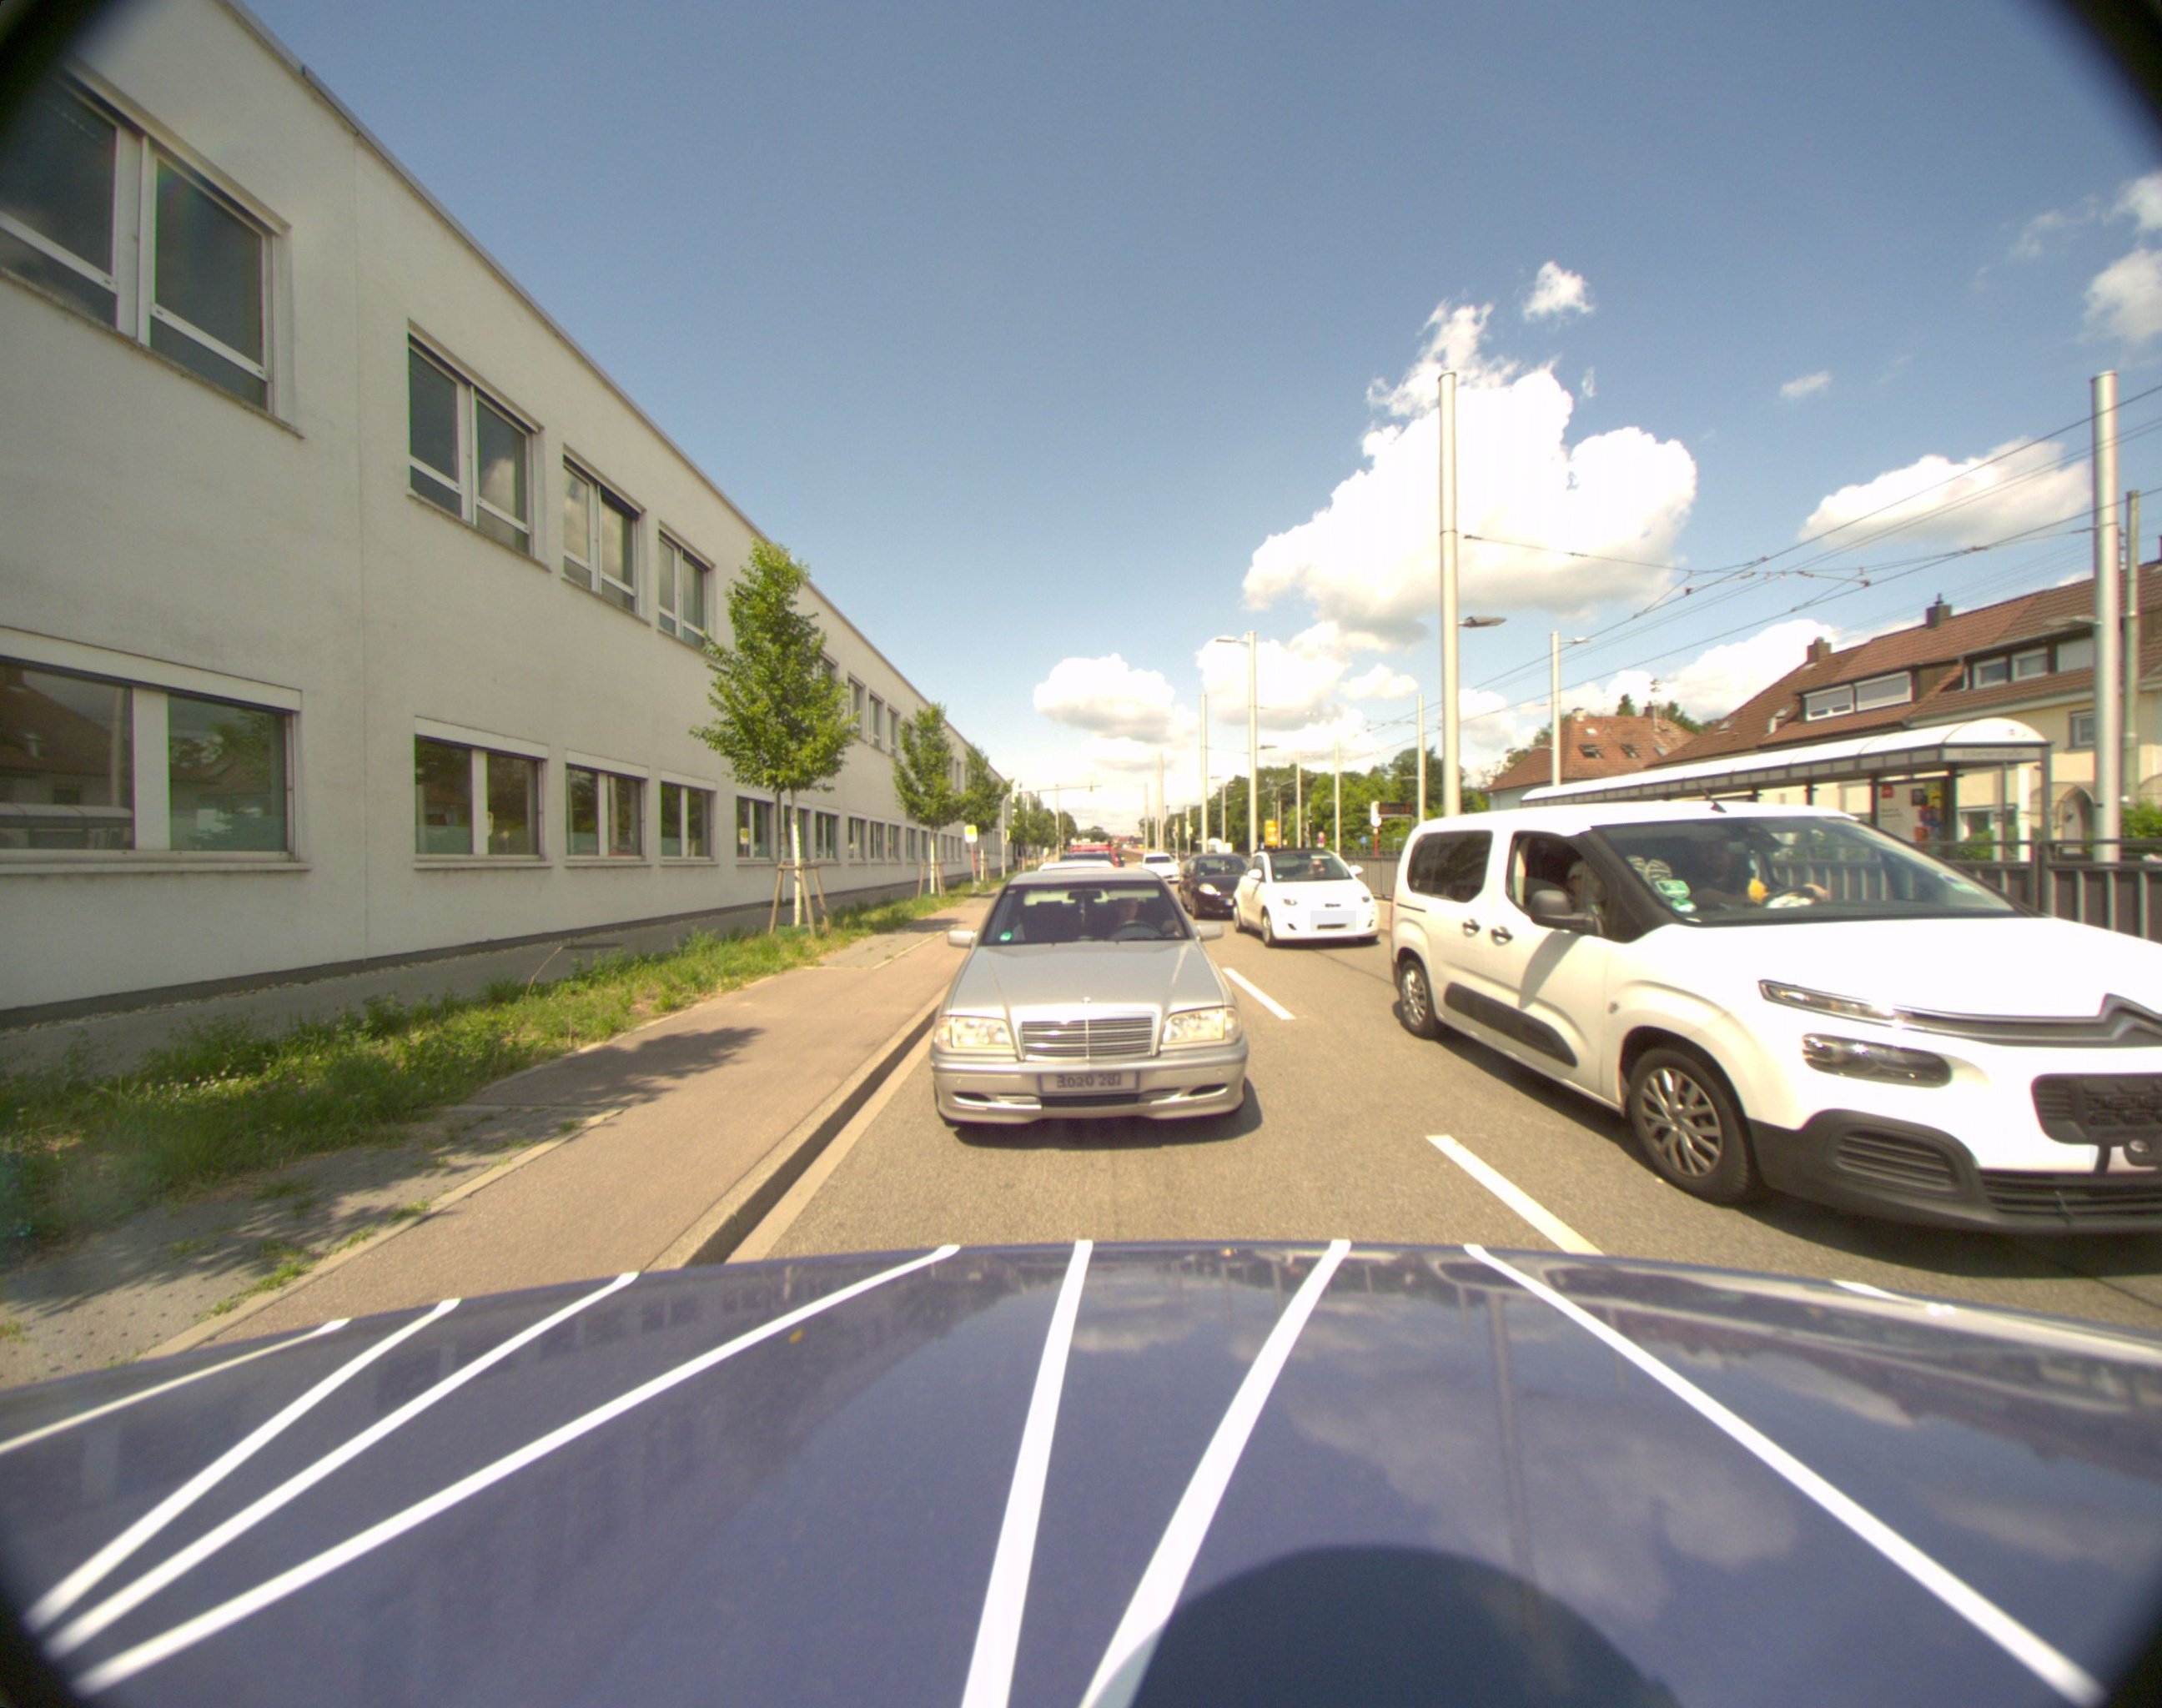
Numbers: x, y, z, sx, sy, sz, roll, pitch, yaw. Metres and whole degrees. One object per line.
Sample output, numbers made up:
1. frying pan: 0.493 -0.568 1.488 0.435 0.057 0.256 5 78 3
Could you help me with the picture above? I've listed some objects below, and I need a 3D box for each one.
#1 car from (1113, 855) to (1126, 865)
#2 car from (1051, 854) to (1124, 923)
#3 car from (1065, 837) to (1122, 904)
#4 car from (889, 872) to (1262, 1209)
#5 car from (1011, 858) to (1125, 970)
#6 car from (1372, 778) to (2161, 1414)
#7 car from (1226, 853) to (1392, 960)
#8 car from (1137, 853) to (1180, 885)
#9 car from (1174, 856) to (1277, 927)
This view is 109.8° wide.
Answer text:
1. car: 5.666 0.811 111.386 1.698 1.350 4.498 -2 1 1
2. car: 0.180 0.817 20.026 1.664 1.529 3.999 -2 1 1
3. car: 0.429 0.503 27.405 1.787 2.134 5.169 -2 1 1
4. car: 0.005 0.948 5.845 1.725 1.389 4.462 -2 1 1
5. car: -0.167 0.911 13.442 1.664 1.564 3.999 -2 1 1
6. car: 3.372 0.652 4.320 1.799 1.805 4.329 -2 1 1
7. car: 3.632 0.756 12.712 1.680 1.495 3.393 -2 0 -1
8. car: 3.742 0.704 37.309 1.698 1.350 4.498 -2 1 1
9. car: 3.289 0.807 17.973 1.680 1.414 3.558 -2 1 -1
